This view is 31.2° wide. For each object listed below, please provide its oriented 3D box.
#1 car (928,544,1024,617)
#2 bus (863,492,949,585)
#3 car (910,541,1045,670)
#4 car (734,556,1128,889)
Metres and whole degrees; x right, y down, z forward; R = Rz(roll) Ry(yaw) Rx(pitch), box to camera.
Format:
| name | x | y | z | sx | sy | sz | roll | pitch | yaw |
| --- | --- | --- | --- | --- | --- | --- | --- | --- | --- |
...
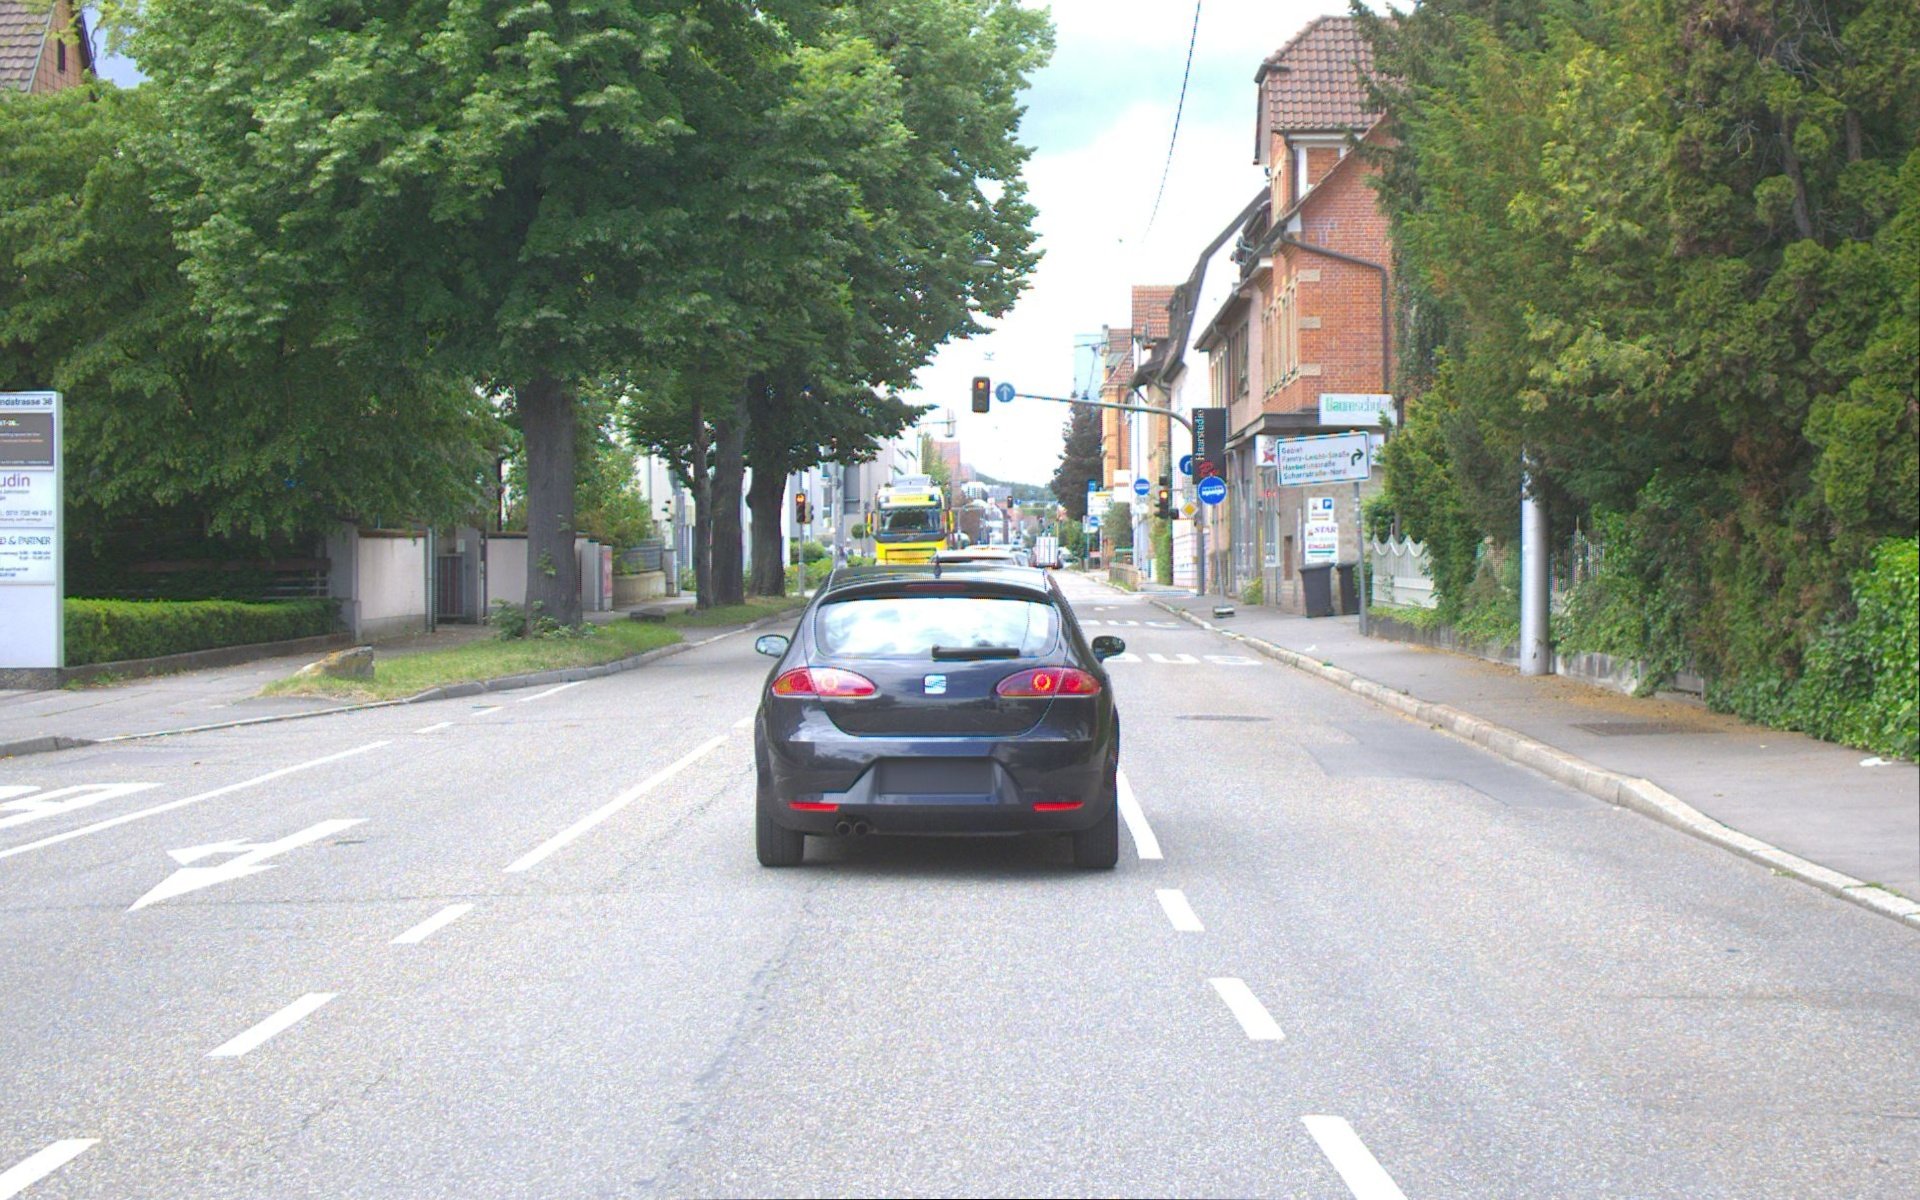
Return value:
| name | x | y | z | sx | sy | sz | roll | pitch | yaw |
| --- | --- | --- | --- | --- | --- | --- | --- | --- | --- |
| car | 0.331 | -0.452 | 76.303 | 1.941 | 1.476 | 4.253 | -2 | 2 | -2 |
| bus | -1.866 | -2.187 | 121.007 | 2.868 | 3.125 | 6.398 | -2 | 1 | 0 |
| car | 0.297 | 0.035 | 50.192 | 1.819 | 1.693 | 4.253 | -2 | 2 | 2 |
| car | -0.223 | 0.533 | 17.385 | 1.759 | 1.444 | 3.715 | 1 | 1 | -3 |
